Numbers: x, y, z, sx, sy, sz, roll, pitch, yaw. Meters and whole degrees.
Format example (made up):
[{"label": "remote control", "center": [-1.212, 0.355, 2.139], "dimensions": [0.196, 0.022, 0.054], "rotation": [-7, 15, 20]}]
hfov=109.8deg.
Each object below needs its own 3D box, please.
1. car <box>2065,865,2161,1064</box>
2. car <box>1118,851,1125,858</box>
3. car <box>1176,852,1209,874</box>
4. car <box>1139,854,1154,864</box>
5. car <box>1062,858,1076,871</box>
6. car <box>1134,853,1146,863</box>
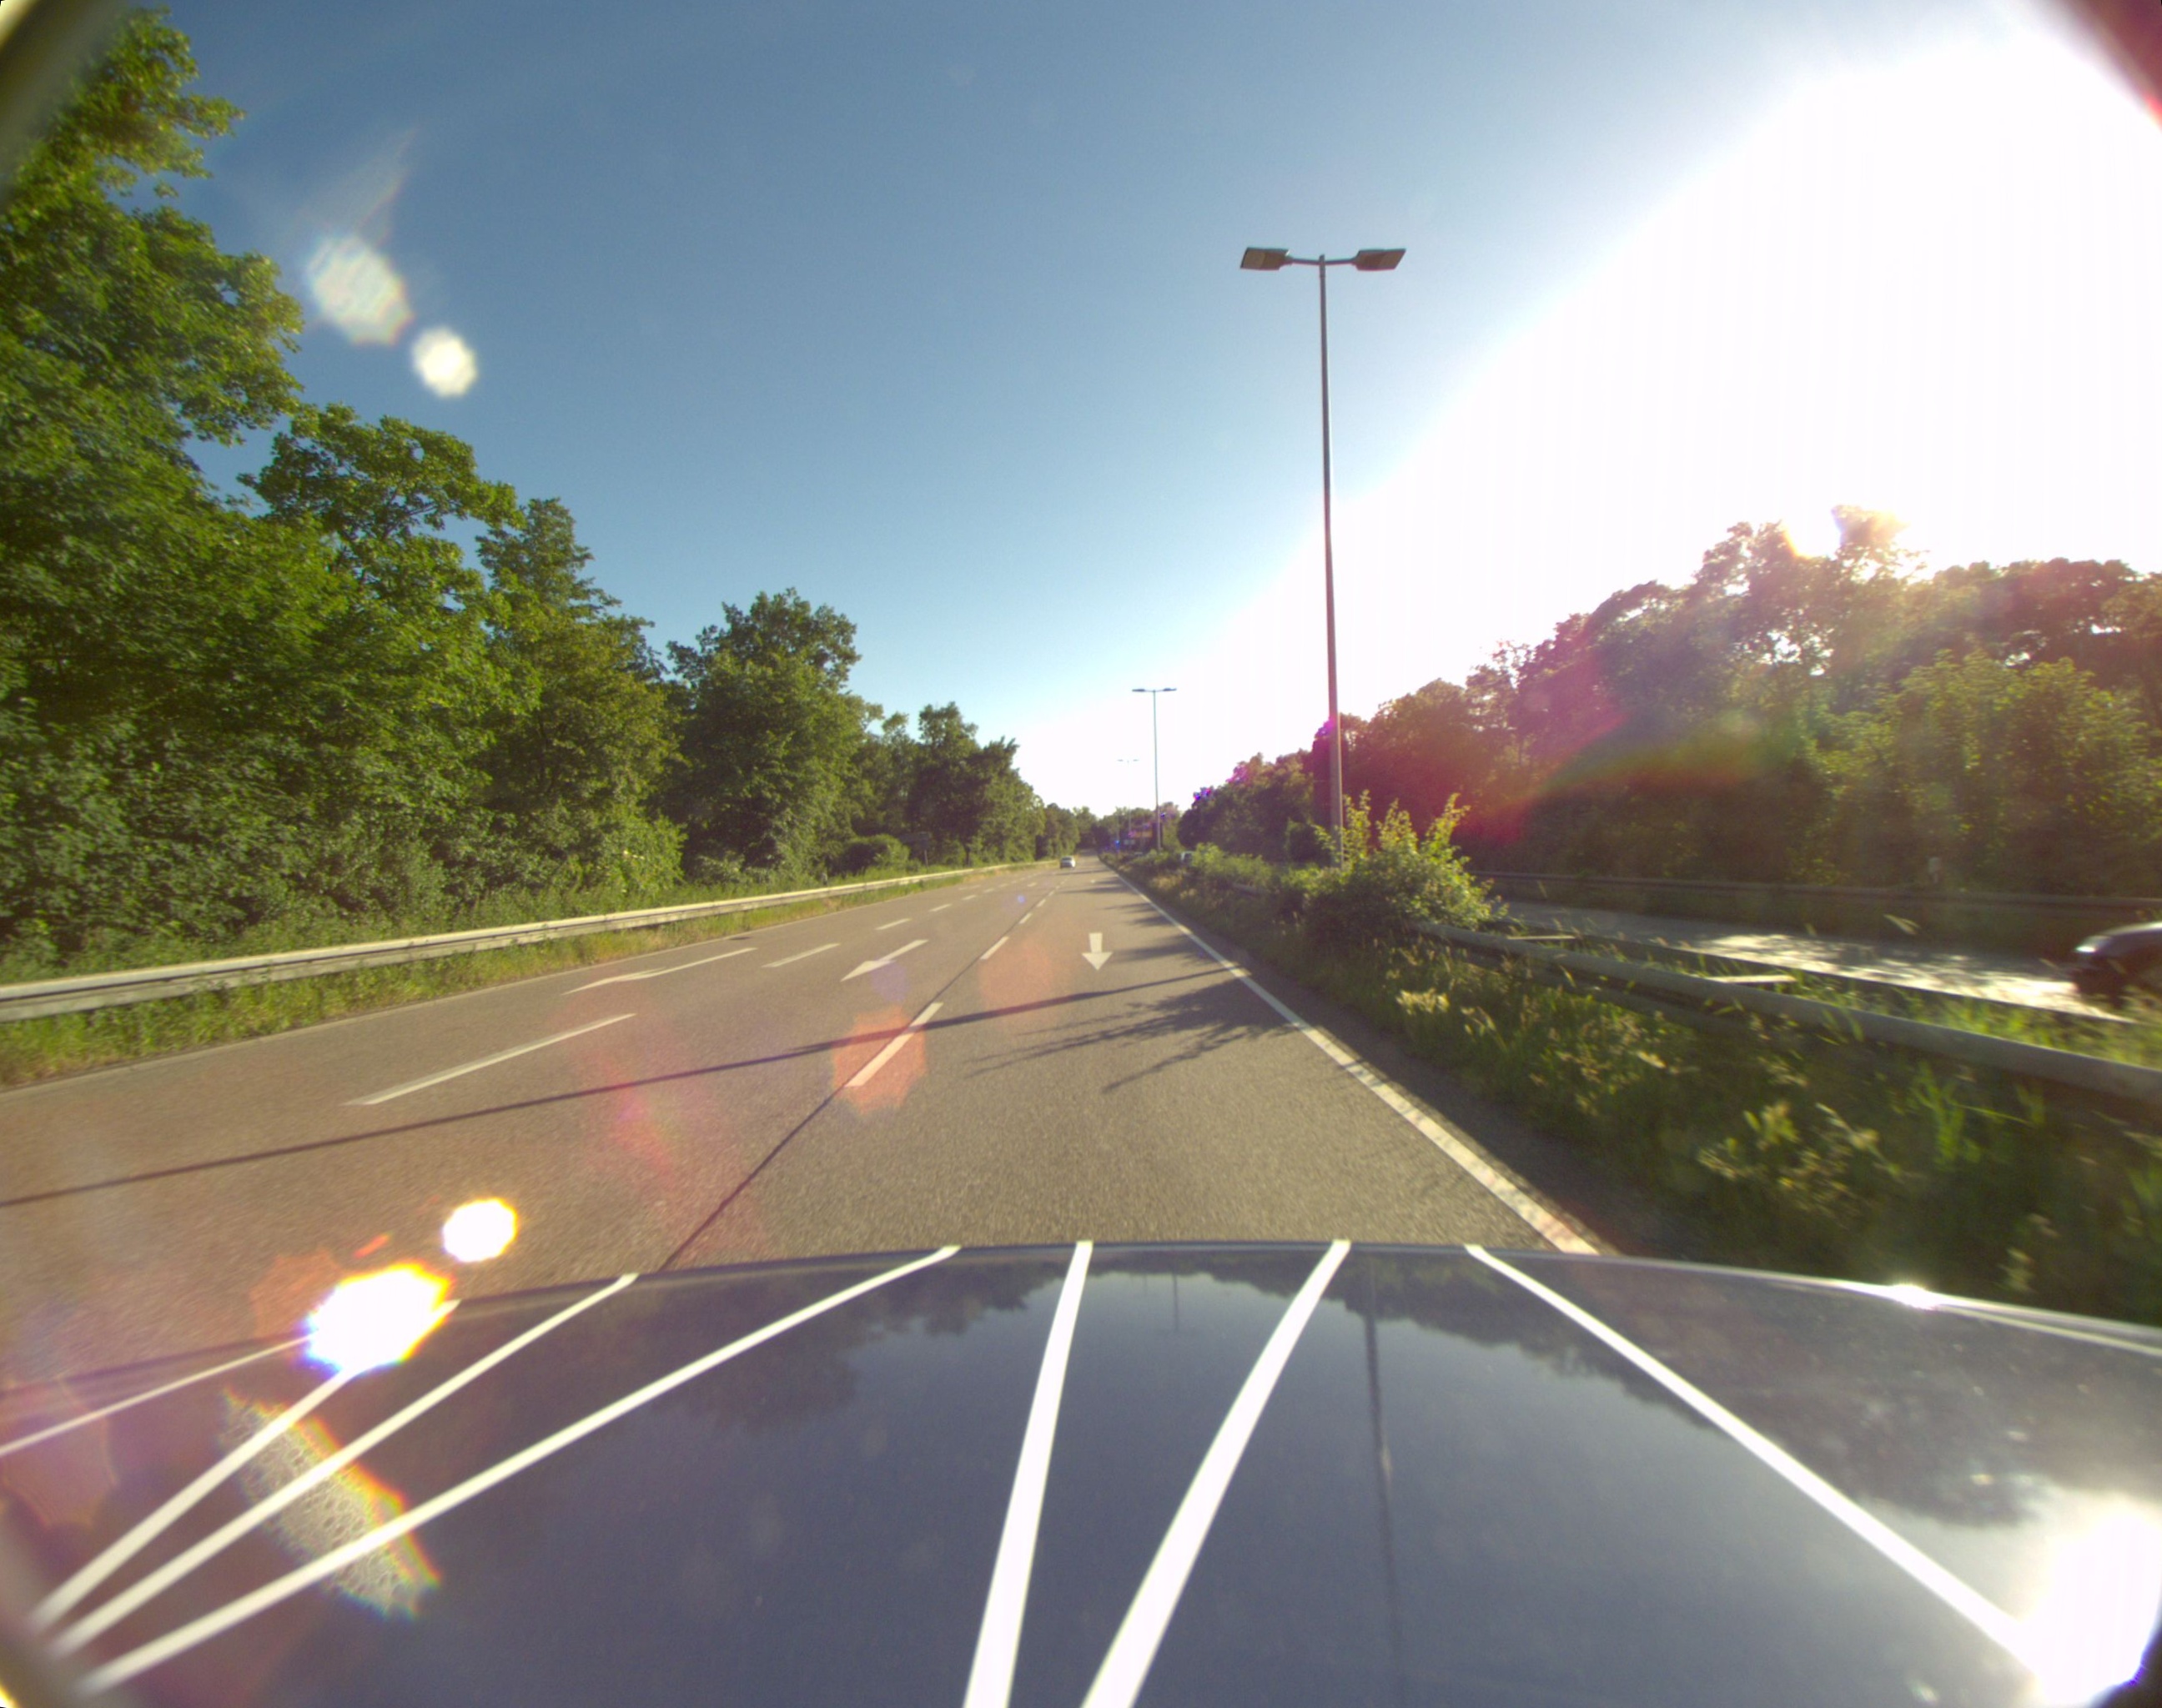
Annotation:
[{"label": "car", "center": [8.668, 0.786, 3.711], "dimensions": [1.810, 1.408, 4.531], "rotation": [0, 0, -2]}, {"label": "car", "center": [11.277, 0.107, 211.235], "dimensions": [1.846, 1.747, 4.712], "rotation": [-1, 0, 1]}, {"label": "car", "center": [8.306, 0.680, 56.974], "dimensions": [1.774, 1.560, 4.218], "rotation": [-1, 0, 0]}, {"label": "car", "center": [9.577, 0.761, 110.834], "dimensions": [1.777, 1.348, 4.462], "rotation": [-1, 0, 1]}, {"label": "car", "center": [-1.420, 1.317, 94.158], "dimensions": [1.682, 1.477, 3.390], "rotation": [-1, -1, 0]}, {"label": "car", "center": [10.027, 0.728, 129.224], "dimensions": [1.790, 1.700, 4.547], "rotation": [1, 0, 1]}]
